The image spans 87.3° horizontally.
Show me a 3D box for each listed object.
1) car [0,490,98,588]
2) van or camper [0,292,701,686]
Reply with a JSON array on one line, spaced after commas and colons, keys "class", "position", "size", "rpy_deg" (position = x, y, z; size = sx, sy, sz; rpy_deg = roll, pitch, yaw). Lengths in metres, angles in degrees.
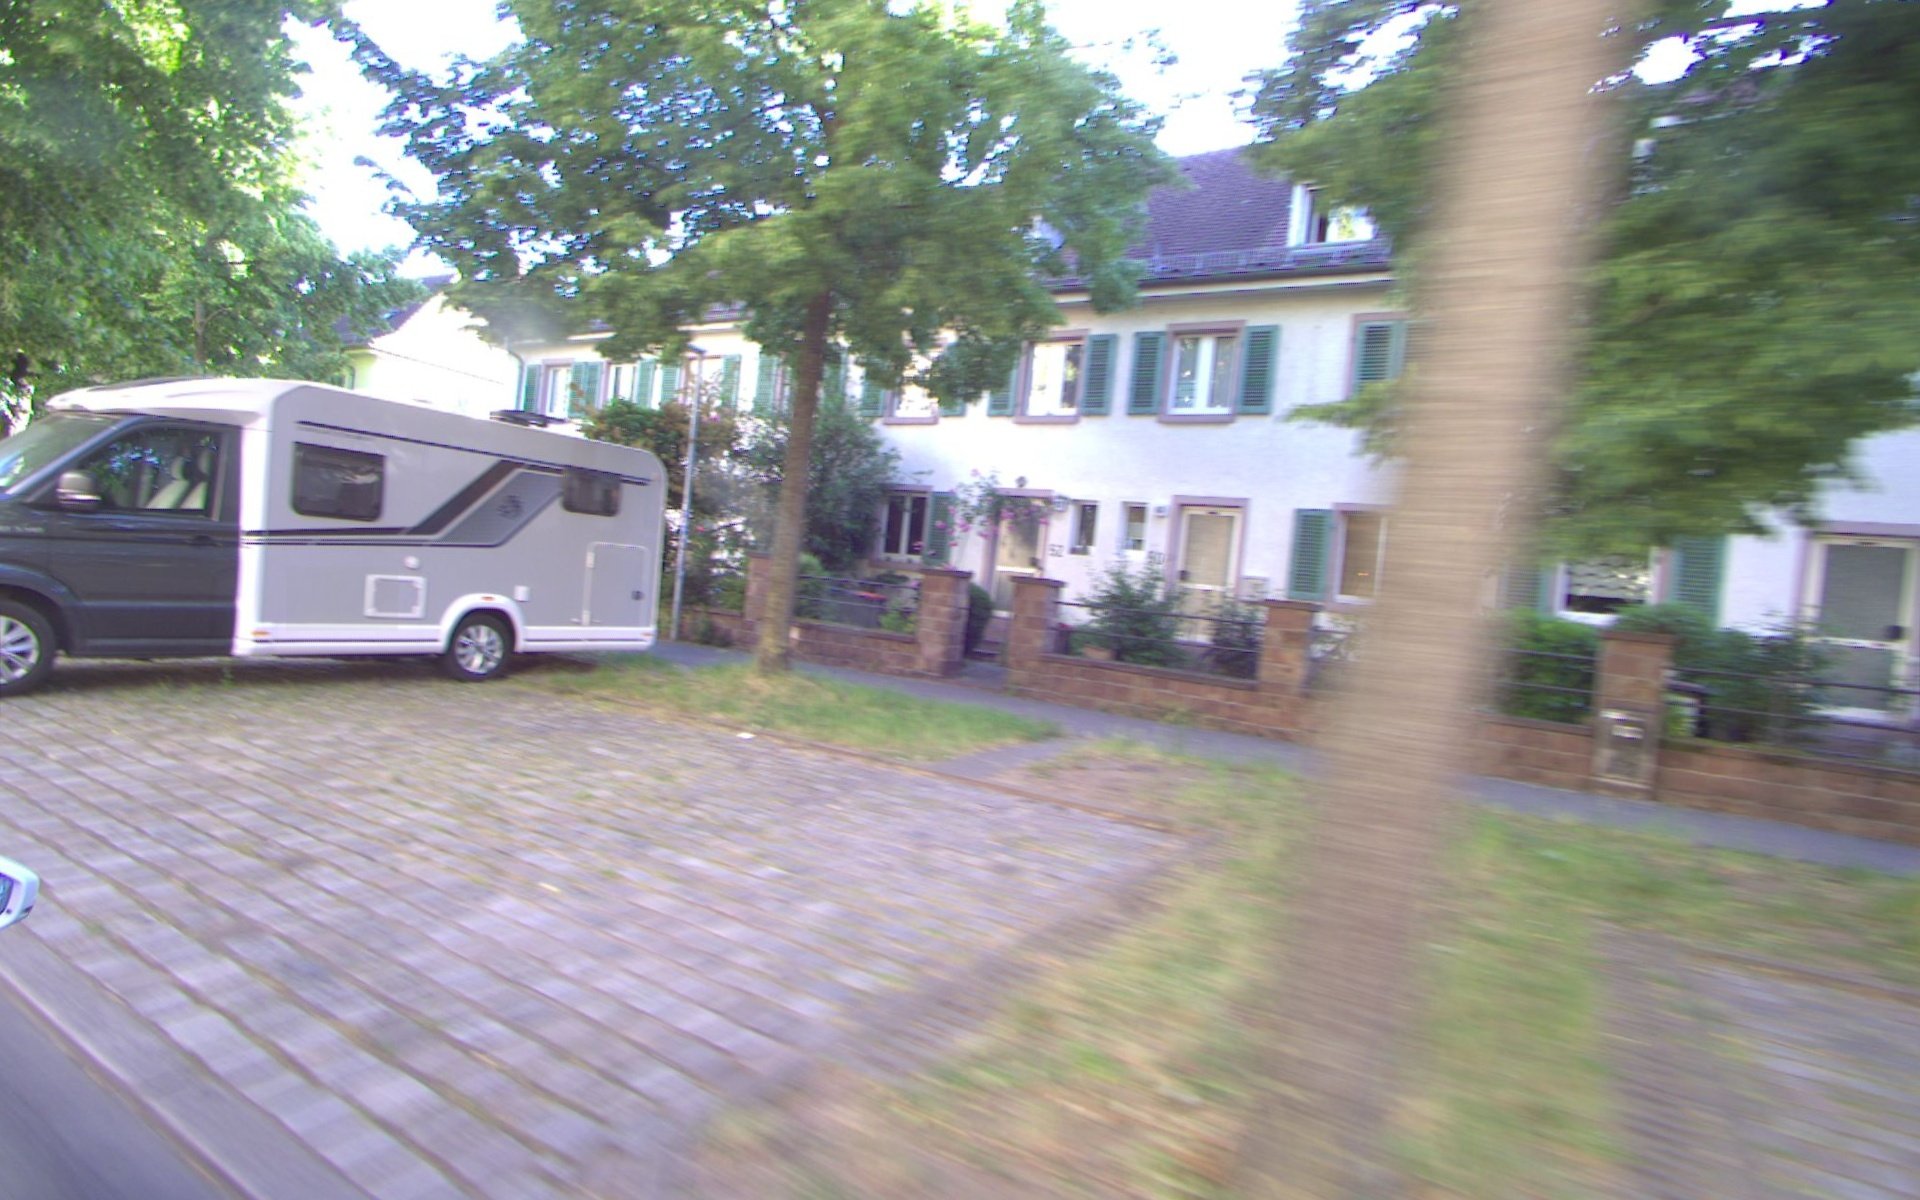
[{"class": "car", "position": [-16.359, -1.139, 15.691], "size": [1.661, 1.472, 4.040], "rpy_deg": [6, 0, 28]}, {"class": "van or camper", "position": [-6.138, -0.810, 9.698], "size": [2.425, 2.683, 7.142], "rpy_deg": [7, 3, 33]}]
